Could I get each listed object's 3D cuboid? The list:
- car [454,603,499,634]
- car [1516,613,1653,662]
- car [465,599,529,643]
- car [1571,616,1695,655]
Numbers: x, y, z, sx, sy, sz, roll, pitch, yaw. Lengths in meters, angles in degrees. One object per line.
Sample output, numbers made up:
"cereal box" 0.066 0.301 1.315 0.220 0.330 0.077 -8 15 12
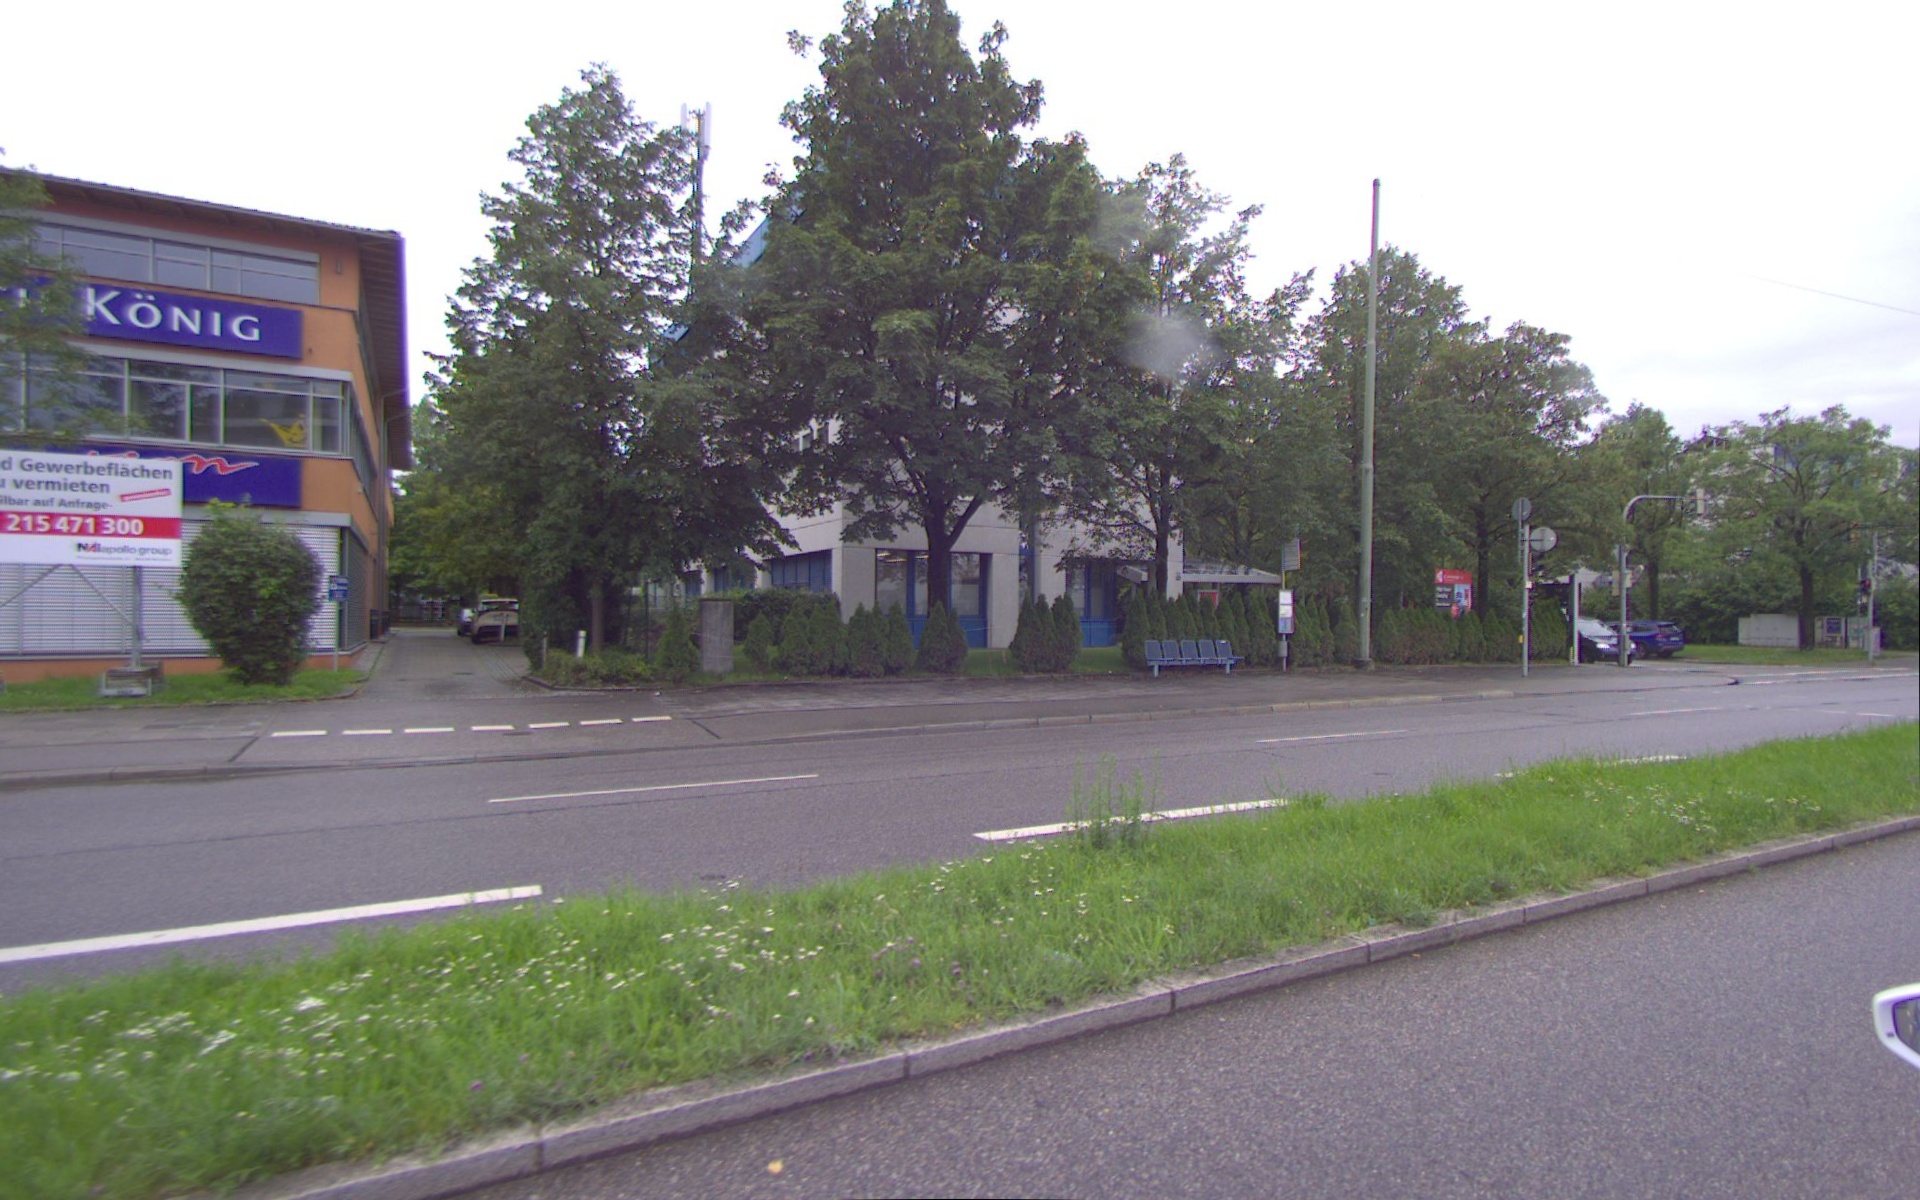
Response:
"car" -24.891 0.918 51.678 1.747 1.504 3.861 1 0 -31
"car" 23.938 1.427 38.757 1.962 1.745 4.787 1 -2 -6
"car" -17.203 0.745 37.225 1.747 1.504 3.861 1 0 -31
"car" 30.079 1.566 45.046 1.969 1.595 4.264 -2 -1 -20
